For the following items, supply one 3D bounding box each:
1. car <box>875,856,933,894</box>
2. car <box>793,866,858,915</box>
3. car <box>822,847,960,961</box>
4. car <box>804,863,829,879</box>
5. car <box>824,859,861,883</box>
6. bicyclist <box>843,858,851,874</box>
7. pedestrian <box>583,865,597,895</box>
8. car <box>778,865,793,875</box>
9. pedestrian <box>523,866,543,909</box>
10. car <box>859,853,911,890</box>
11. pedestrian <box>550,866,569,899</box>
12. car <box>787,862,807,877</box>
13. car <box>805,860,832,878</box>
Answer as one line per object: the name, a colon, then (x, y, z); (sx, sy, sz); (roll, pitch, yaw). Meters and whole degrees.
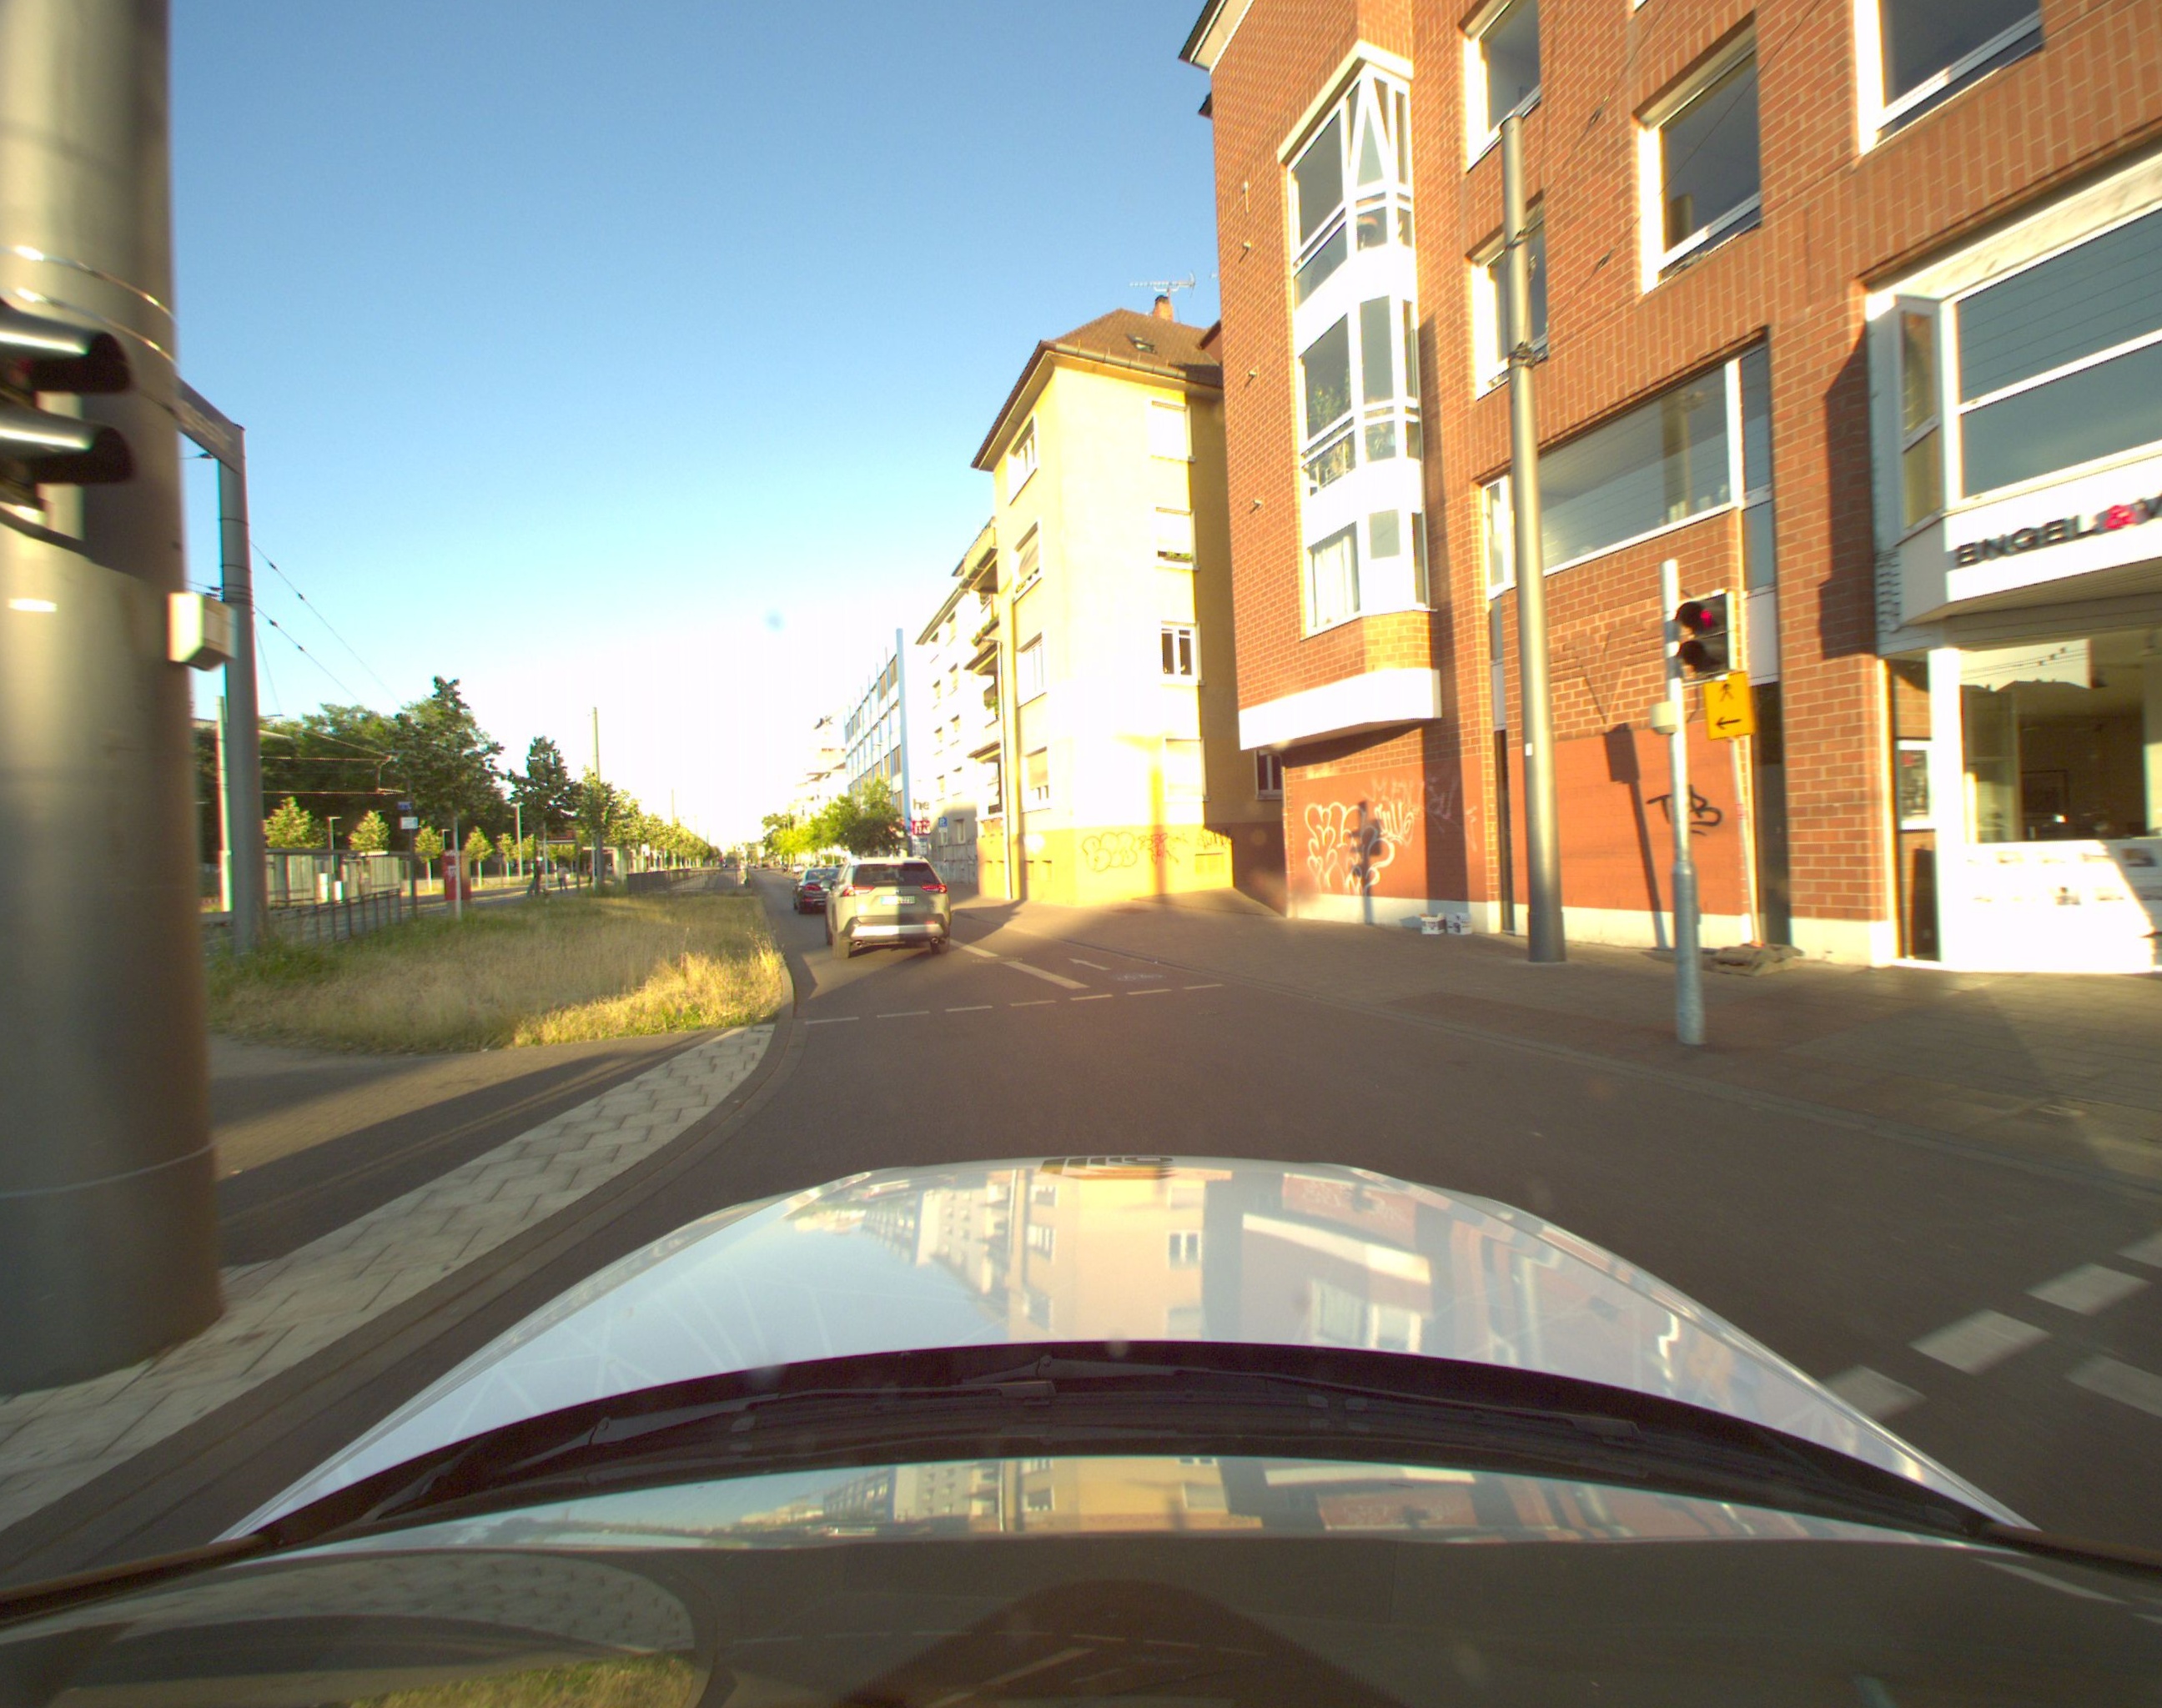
car: (-8.062, 0.928, 36.866); (1.678, 1.517, 3.571); (-4, 1, -26)
car: (-8.588, 1.155, 27.203); (1.864, 1.462, 4.163); (-1, -1, -20)
car: (-3.535, 0.794, 14.554); (1.864, 1.714, 4.163); (-1, -1, -21)
car: (-26.330, 1.694, 80.901); (1.828, 1.454, 4.094); (-4, 0, -25)
car: (-17.653, 1.251, 60.206); (1.828, 1.566, 4.770); (-4, 1, -25)
bicyclist: (-23.091, 1.197, 80.284); (0.561, 1.475, 0.617); (-6, 1, -25)
pedestrian: (-29.237, 1.521, 48.479); (0.639, 1.729, 0.629); (-3, 0, -36)
car: (-48.786, 2.669, 134.547); (1.802, 1.471, 4.407); (-6, 1, -26)
pedestrian: (-23.049, 1.402, 34.277); (0.472, 1.787, 0.622); (-2, 0, -16)
car: (-10.058, 0.872, 41.592); (1.765, 1.654, 4.494); (-5, 1, -23)
pedestrian: (-28.311, 1.522, 44.213); (0.729, 1.744, 0.630); (-3, 1, -31)
car: (-37.580, 2.068, 107.739); (1.864, 1.706, 4.219); (-7, 2, -25)
car: (-23.173, 1.326, 71.834); (1.692, 1.454, 4.095); (-5, 1, -25)
